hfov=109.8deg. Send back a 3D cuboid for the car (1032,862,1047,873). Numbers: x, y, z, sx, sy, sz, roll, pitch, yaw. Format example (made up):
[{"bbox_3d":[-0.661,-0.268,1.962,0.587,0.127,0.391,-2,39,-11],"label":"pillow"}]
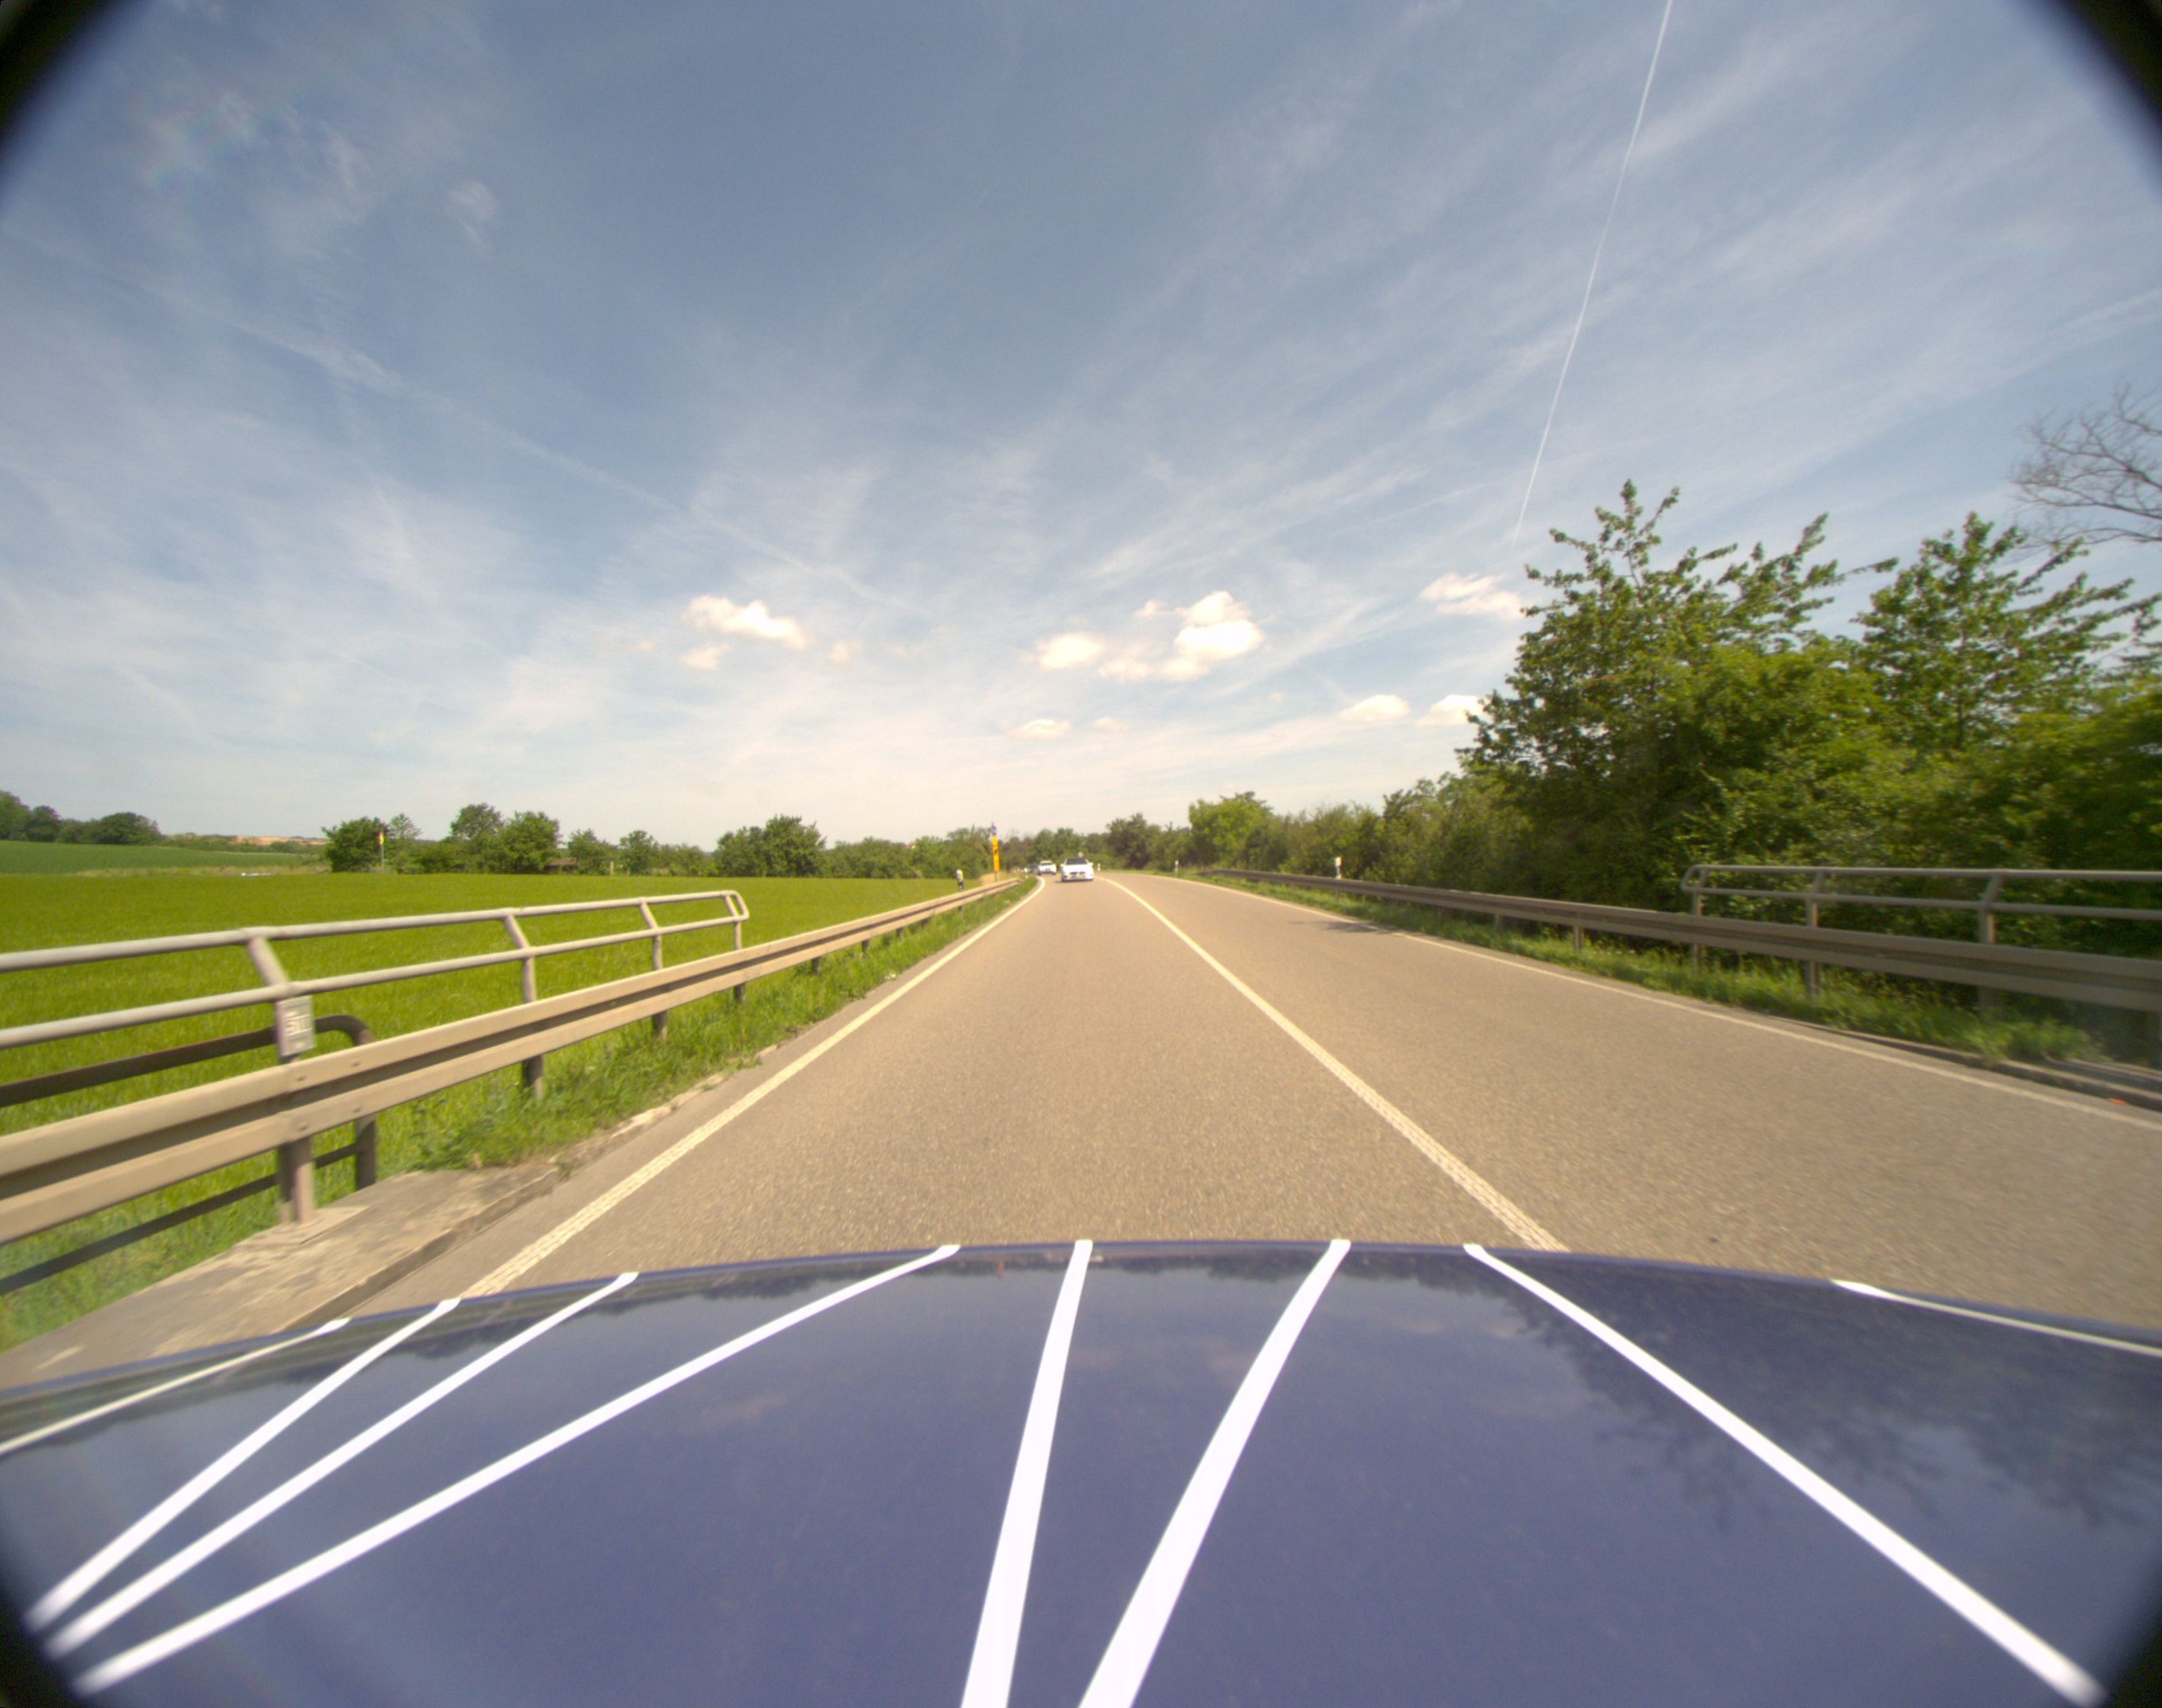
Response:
[{"bbox_3d":[-5.653,1.816,102.736,1.930,1.441,4.074,-1,0,-5],"label":"car"}]

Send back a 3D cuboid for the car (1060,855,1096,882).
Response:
[{"bbox_3d":[-0.248,0.851,46.544,1.930,1.441,4.533,-3,0,-3],"label":"car"}]

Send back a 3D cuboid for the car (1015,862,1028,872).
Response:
[{"bbox_3d":[-9.643,2.042,122.593,1.930,1.441,3.997,-1,0,-7],"label":"car"}]

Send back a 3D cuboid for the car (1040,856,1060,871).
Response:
[{"bbox_3d":[-3.345,1.007,80.302,1.930,1.441,3.998,-4,0,-4],"label":"car"}]
